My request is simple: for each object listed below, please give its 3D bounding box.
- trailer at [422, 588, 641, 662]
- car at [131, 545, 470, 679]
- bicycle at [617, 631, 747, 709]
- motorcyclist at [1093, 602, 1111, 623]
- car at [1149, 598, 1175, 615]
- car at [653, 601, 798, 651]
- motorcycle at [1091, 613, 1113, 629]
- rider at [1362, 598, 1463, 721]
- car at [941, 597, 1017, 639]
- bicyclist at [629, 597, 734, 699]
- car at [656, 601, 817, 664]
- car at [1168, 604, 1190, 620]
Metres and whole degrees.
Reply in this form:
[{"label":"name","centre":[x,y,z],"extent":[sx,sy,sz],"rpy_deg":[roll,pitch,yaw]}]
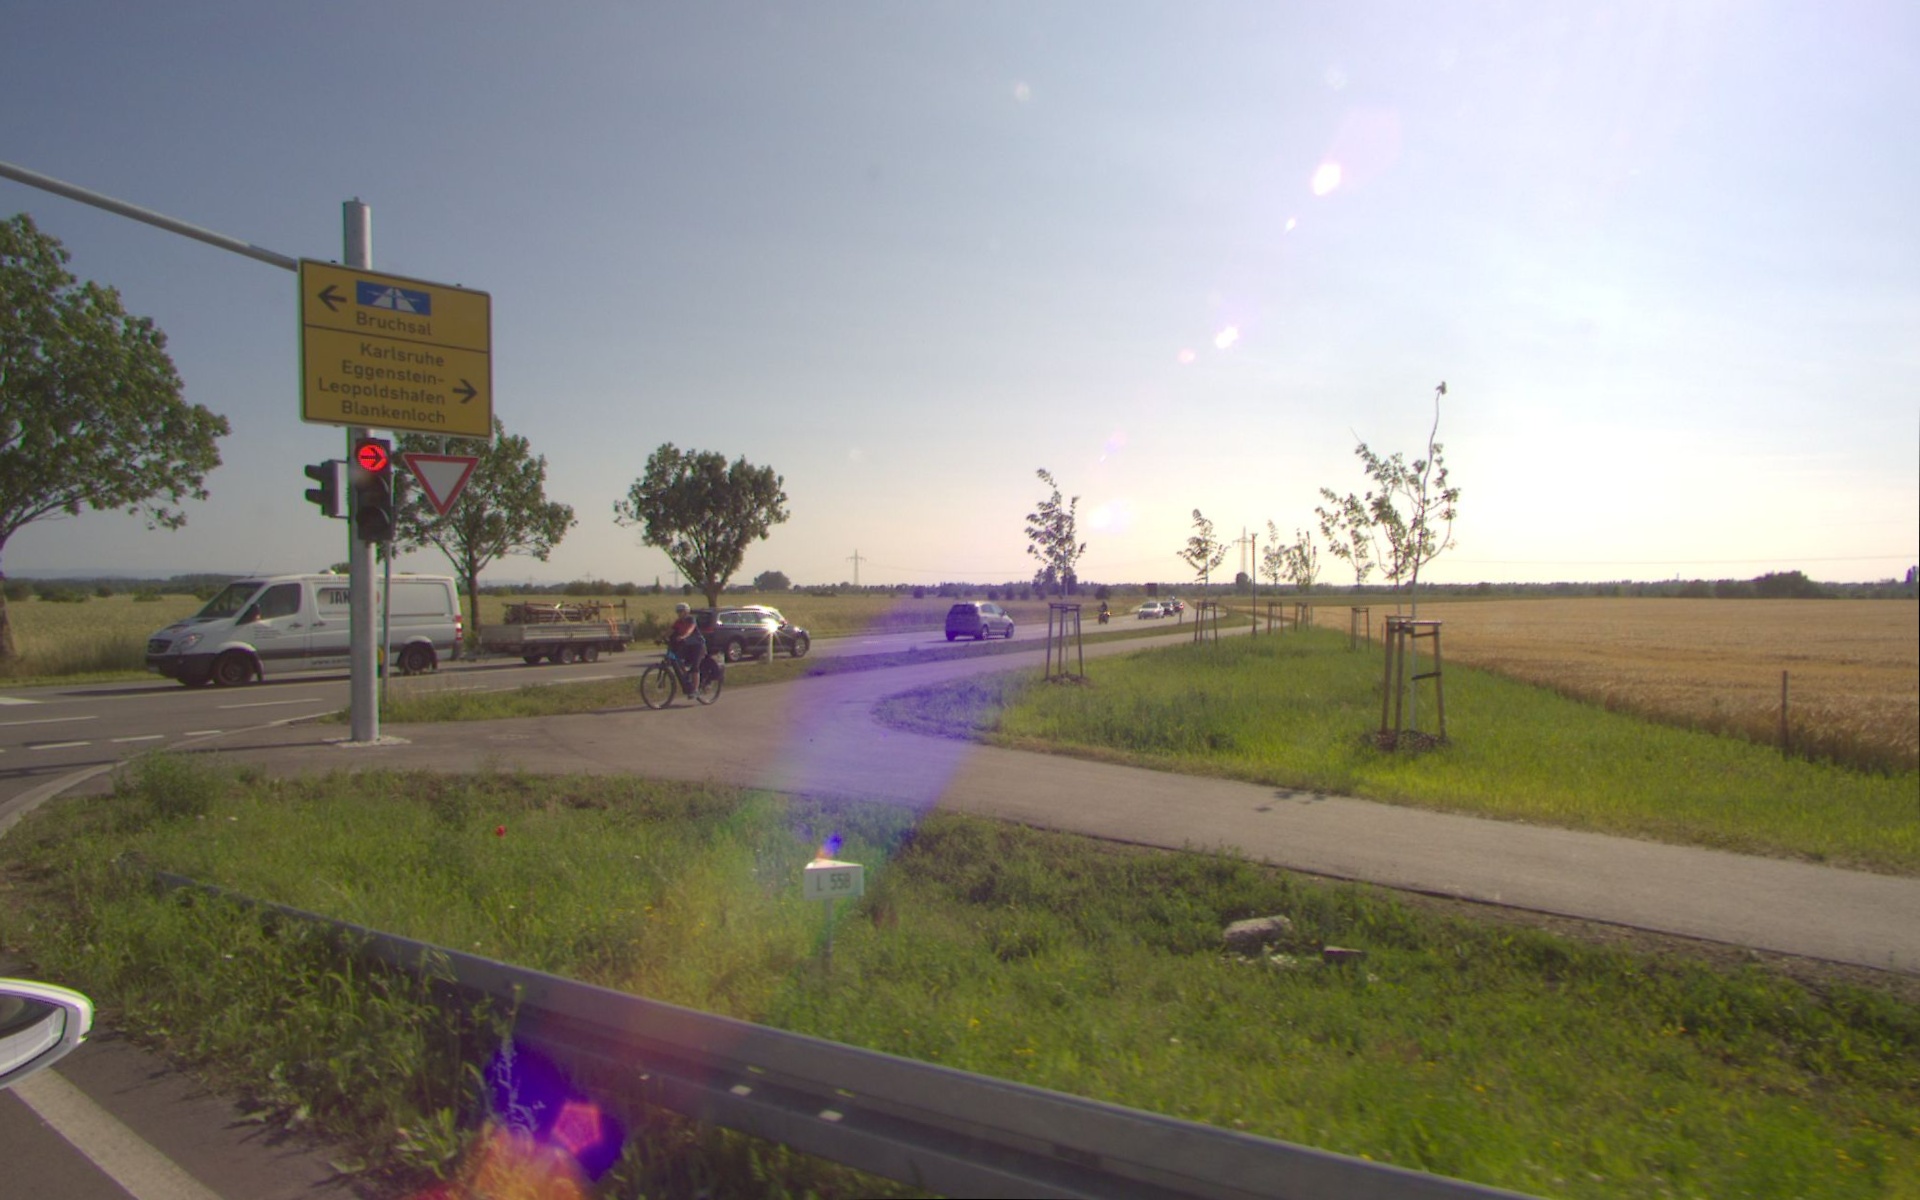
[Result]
[{"label":"trailer","centre":[-11.260,0.607,26.770],"extent":[1.925,1.776,5.251],"rpy_deg":[0,0,31]},{"label":"car","centre":[-14.122,0.327,21.966],"extent":[1.971,2.524,5.949],"rpy_deg":[-1,-2,31]},{"label":"bicycle","centre":[-4.665,1.138,16.983],"extent":[0.876,1.201,2.154],"rpy_deg":[-1,-1,28]},{"label":"motorcyclist","centre":[10.118,0.906,71.358],"extent":[1.013,1.479,1.067],"rpy_deg":[1,-1,28]},{"label":"car","centre":[20.141,0.623,99.714],"extent":[1.985,1.609,4.876],"rpy_deg":[1,0,19]},{"label":"car","centre":[-7.659,0.883,33.237],"extent":[1.969,1.529,4.866],"rpy_deg":[-1,-2,28]},{"label":"motorcycle","centre":[10.126,1.500,71.439],"extent":[0.836,1.133,2.140],"rpy_deg":[1,-1,28]},{"label":"rider","centre":[6.439,0.824,14.283],"extent":[0.973,1.665,0.820],"rpy_deg":[1,2,-16]},{"label":"car","centre":[0.857,0.798,42.147],"extent":[1.735,1.689,3.957],"rpy_deg":[-1,-2,25]},{"label":"bicyclist","centre":[-4.690,0.778,16.915],"extent":[1.147,1.623,1.278],"rpy_deg":[1,1,29]},{"label":"car","centre":[-6.177,0.838,28.203],"extent":[1.891,1.539,4.670],"rpy_deg":[2,1,27]},{"label":"car","centre":[25.994,1.431,118.660],"extent":[1.964,1.714,4.874],"rpy_deg":[2,1,19]}]
